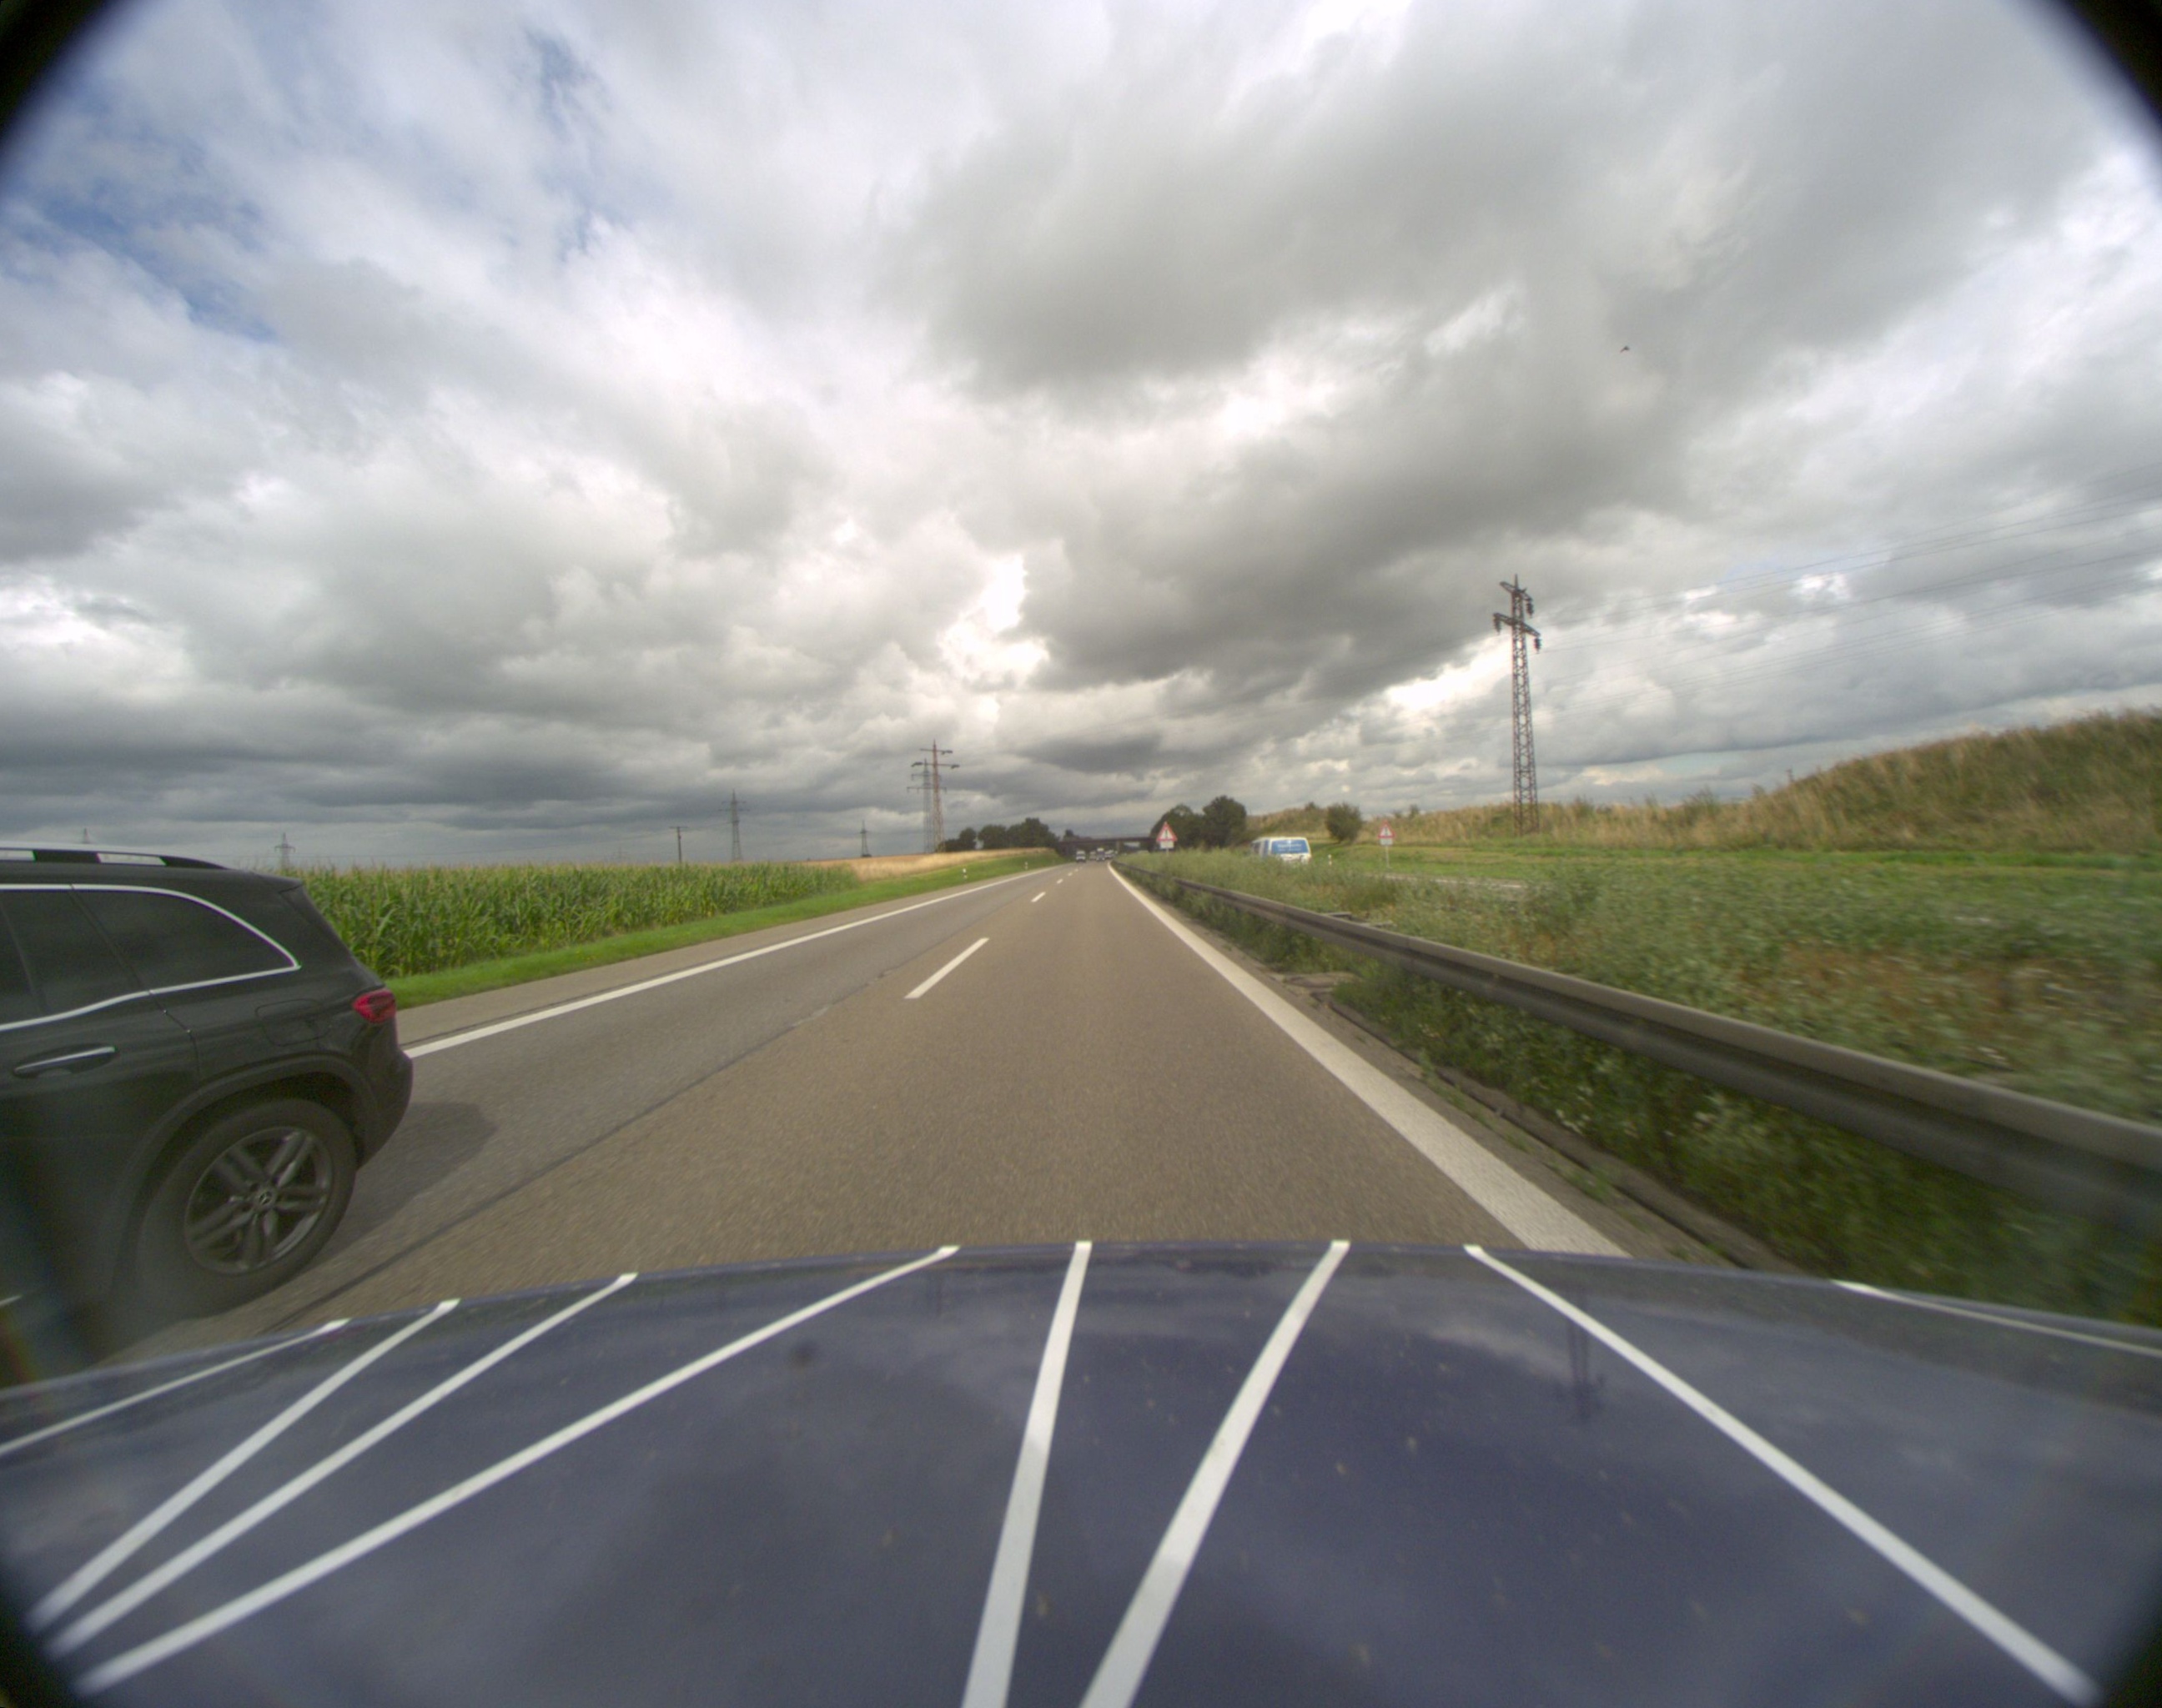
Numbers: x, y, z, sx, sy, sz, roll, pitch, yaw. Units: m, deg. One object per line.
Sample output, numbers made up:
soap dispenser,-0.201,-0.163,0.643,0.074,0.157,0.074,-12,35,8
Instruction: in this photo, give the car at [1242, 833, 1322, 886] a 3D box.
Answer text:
car,8.463,0.186,32.507,1.998,2.002,5.531,-2,1,1

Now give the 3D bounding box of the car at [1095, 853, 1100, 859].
car,5.243,0.696,241.420,1.833,1.849,5.790,-1,0,1

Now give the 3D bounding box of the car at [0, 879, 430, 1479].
car,-3.935,0.960,1.273,1.838,1.600,4.360,-2,1,1

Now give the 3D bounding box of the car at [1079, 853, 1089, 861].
car,0.690,0.610,171.263,1.998,1.812,4.342,-2,0,1

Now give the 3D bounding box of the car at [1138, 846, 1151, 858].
car,11.131,-0.387,133.551,1.998,2.002,5.032,-2,1,1

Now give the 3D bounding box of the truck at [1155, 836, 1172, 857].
truck,16.138,-1.408,149.088,2.729,3.913,5.987,-2,0,2

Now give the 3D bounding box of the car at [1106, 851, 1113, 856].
car,9.314,-0.085,251.165,1.998,1.698,4.000,-2,0,0

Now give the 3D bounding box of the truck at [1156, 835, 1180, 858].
truck,15.805,-1.331,139.347,2.729,3.913,17.402,-2,0,2

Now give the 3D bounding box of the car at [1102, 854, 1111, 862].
car,6.138,0.963,185.240,1.998,1.695,4.663,-4,-1,1
